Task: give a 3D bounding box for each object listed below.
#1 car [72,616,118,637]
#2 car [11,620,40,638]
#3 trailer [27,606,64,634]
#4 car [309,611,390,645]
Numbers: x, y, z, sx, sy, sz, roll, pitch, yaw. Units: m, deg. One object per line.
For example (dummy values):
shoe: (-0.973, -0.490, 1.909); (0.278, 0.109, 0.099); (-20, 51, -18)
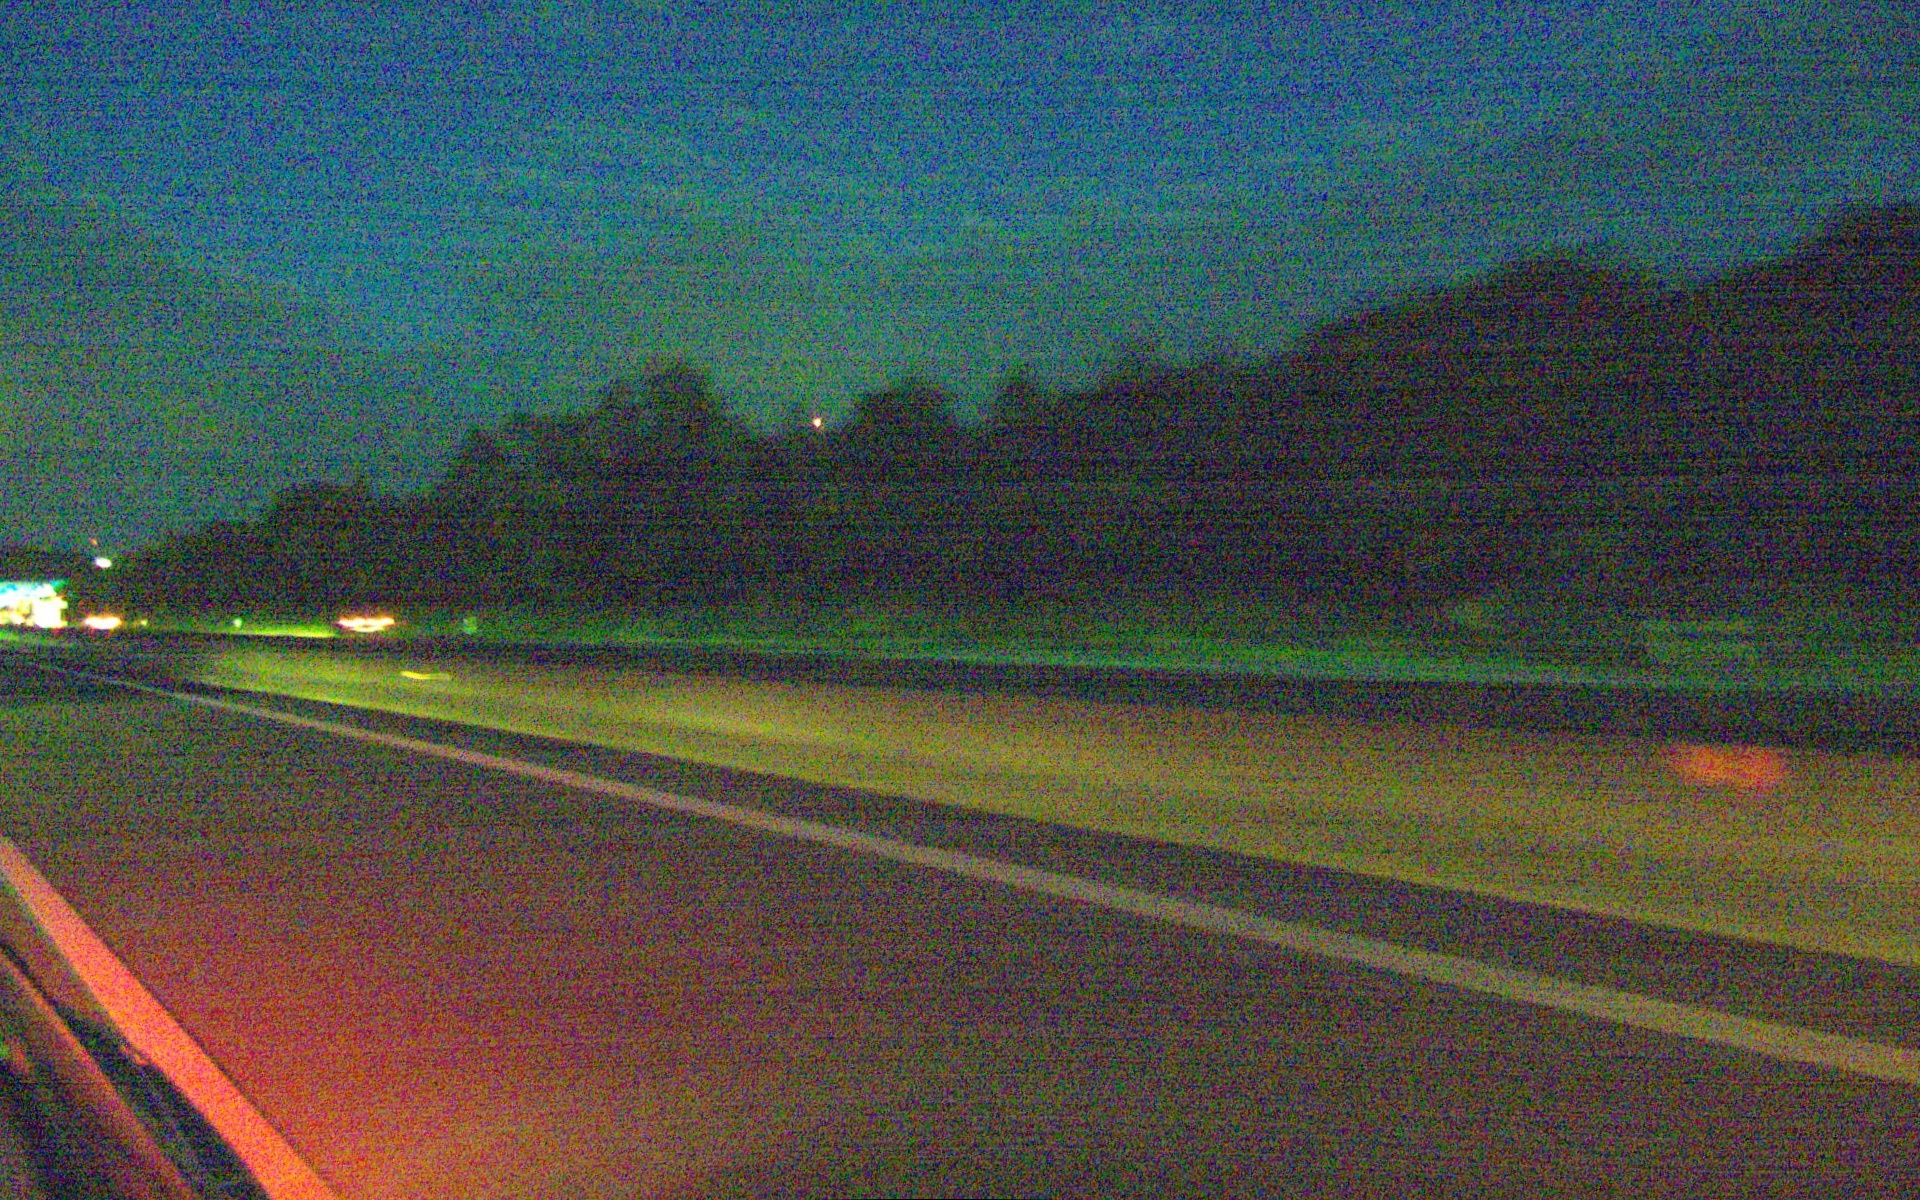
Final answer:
car: (-72.716, 2.204, 85.042); (4.887, 1.681, 2.221); (-1, 0, 41)
car: (-116.029, 3.560, 125.650); (5.714, 2.117, 2.220); (-1, -1, 43)
trailer: (-137.631, 2.997, 152.207); (13.884, 4.010, 2.823); (-1, -1, 43)
car: (-31.788, 1.434, 52.638); (4.884, 1.681, 2.221); (-1, 0, 41)
